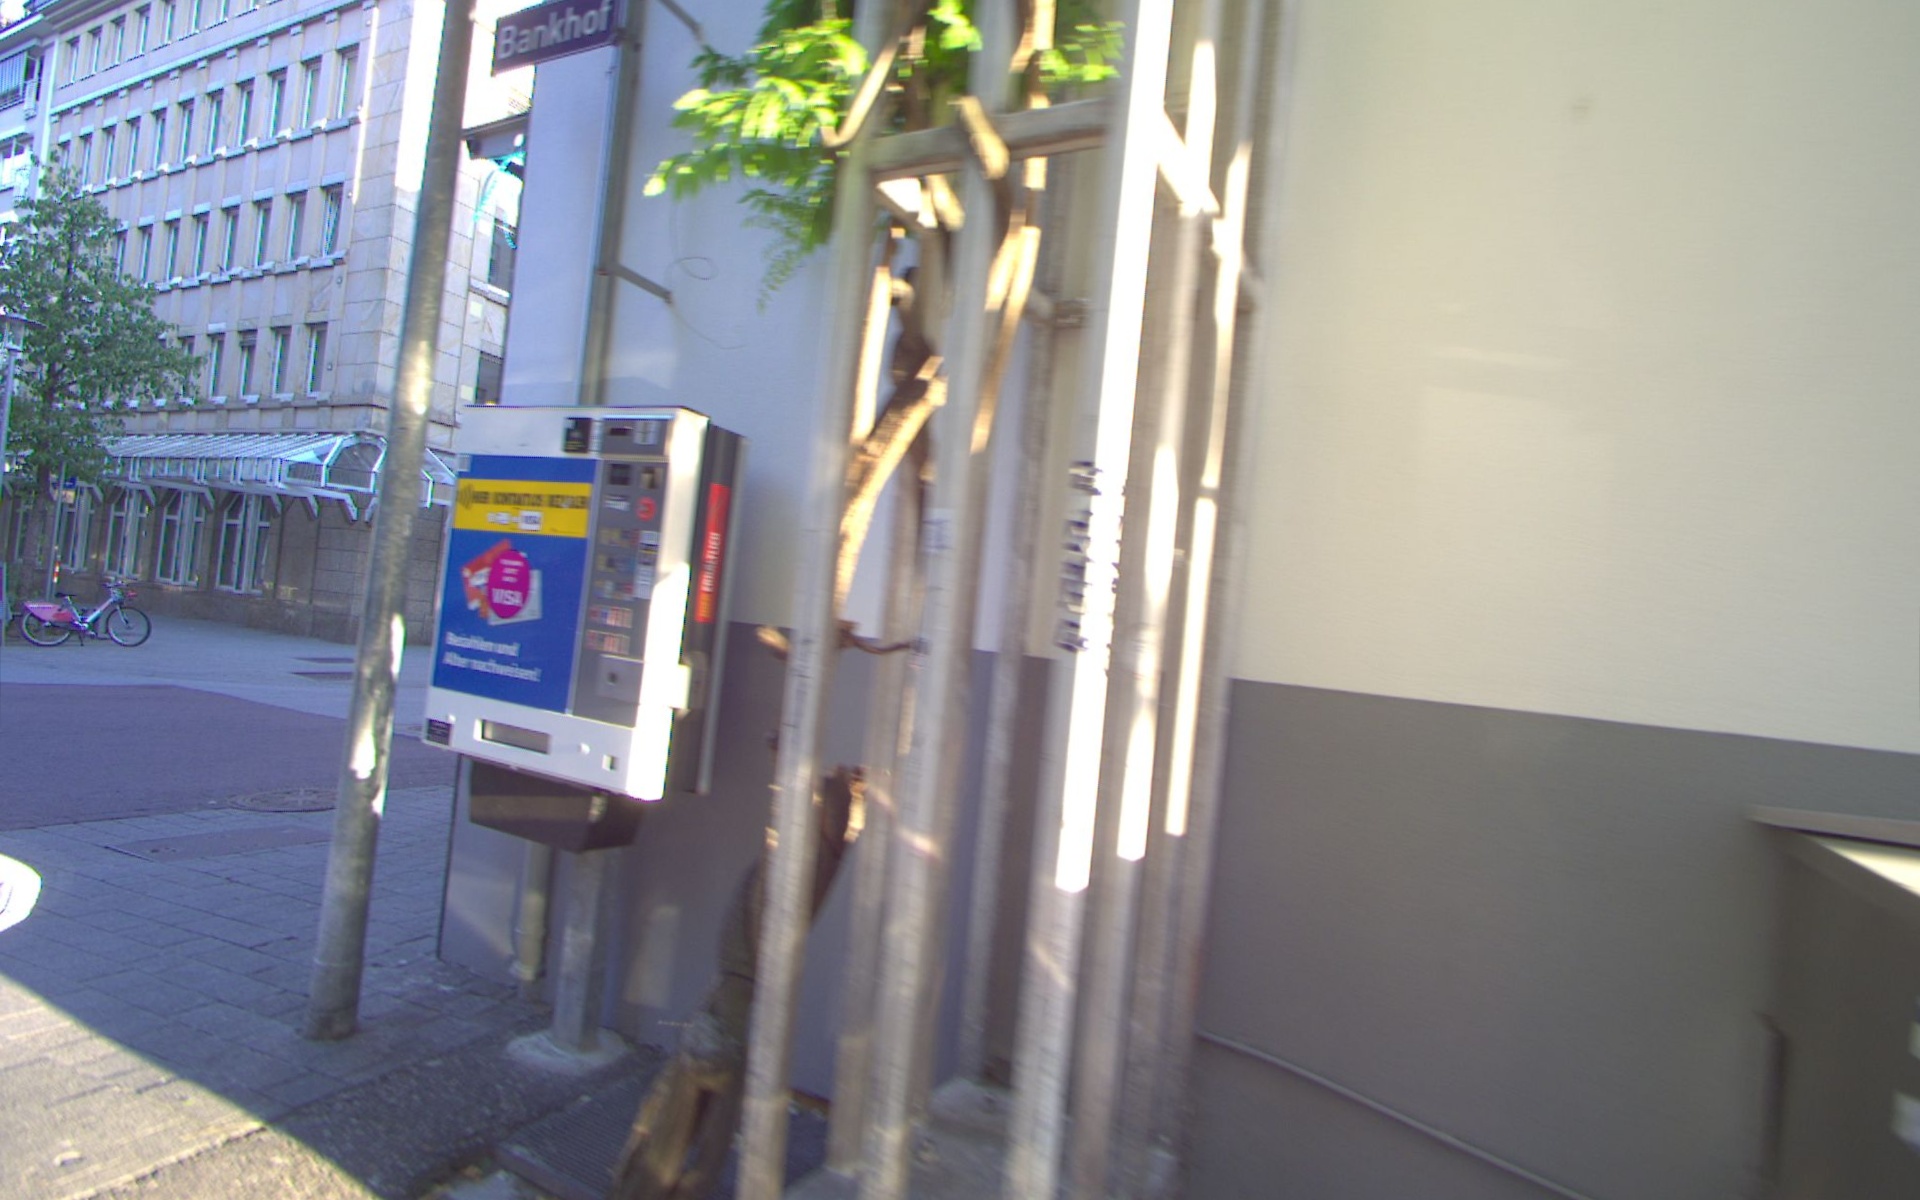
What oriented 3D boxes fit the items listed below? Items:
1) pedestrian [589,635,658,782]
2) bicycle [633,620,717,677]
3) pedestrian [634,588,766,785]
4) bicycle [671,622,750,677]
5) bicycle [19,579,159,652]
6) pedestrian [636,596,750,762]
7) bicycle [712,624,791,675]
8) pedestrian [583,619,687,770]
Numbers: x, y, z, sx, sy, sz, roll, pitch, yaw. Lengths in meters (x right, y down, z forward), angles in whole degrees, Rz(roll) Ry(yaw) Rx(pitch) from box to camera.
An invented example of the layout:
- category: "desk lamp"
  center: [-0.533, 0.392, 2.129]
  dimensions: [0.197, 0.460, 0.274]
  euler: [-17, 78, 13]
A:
- category: "pedestrian"
  center: [-2.773, 0.882, 8.275]
  dimensions: [0.405, 1.138, 0.470]
  euler: [6, 0, -24]
- category: "bicycle"
  center: [-6.461, 1.089, 22.756]
  dimensions: [1.915, 1.064, 0.543]
  euler: [6, 0, 29]
- category: "pedestrian"
  center: [-2.227, 0.725, 8.621]
  dimensions: [0.782, 1.554, 0.618]
  euler: [5, -1, 38]
- category: "bicycle"
  center: [-5.946, 1.171, 23.937]
  dimensions: [1.916, 1.064, 0.543]
  euler: [6, 0, 30]
- category: "bicycle"
  center: [-14.002, 0.259, 16.197]
  dimensions: [1.649, 1.065, 0.654]
  euler: [3, 3, -45]
- category: "pedestrian"
  center: [-2.660, 0.783, 10.031]
  dimensions: [0.719, 1.549, 0.709]
  euler: [6, -1, -43]
- category: "bicycle"
  center: [-5.196, 1.228, 25.030]
  dimensions: [1.915, 1.041, 0.513]
  euler: [5, 0, 27]
- category: "pedestrian"
  center: [-2.895, 0.838, 8.955]
  dimensions: [0.659, 1.262, 0.510]
  euler: [6, -1, -35]
